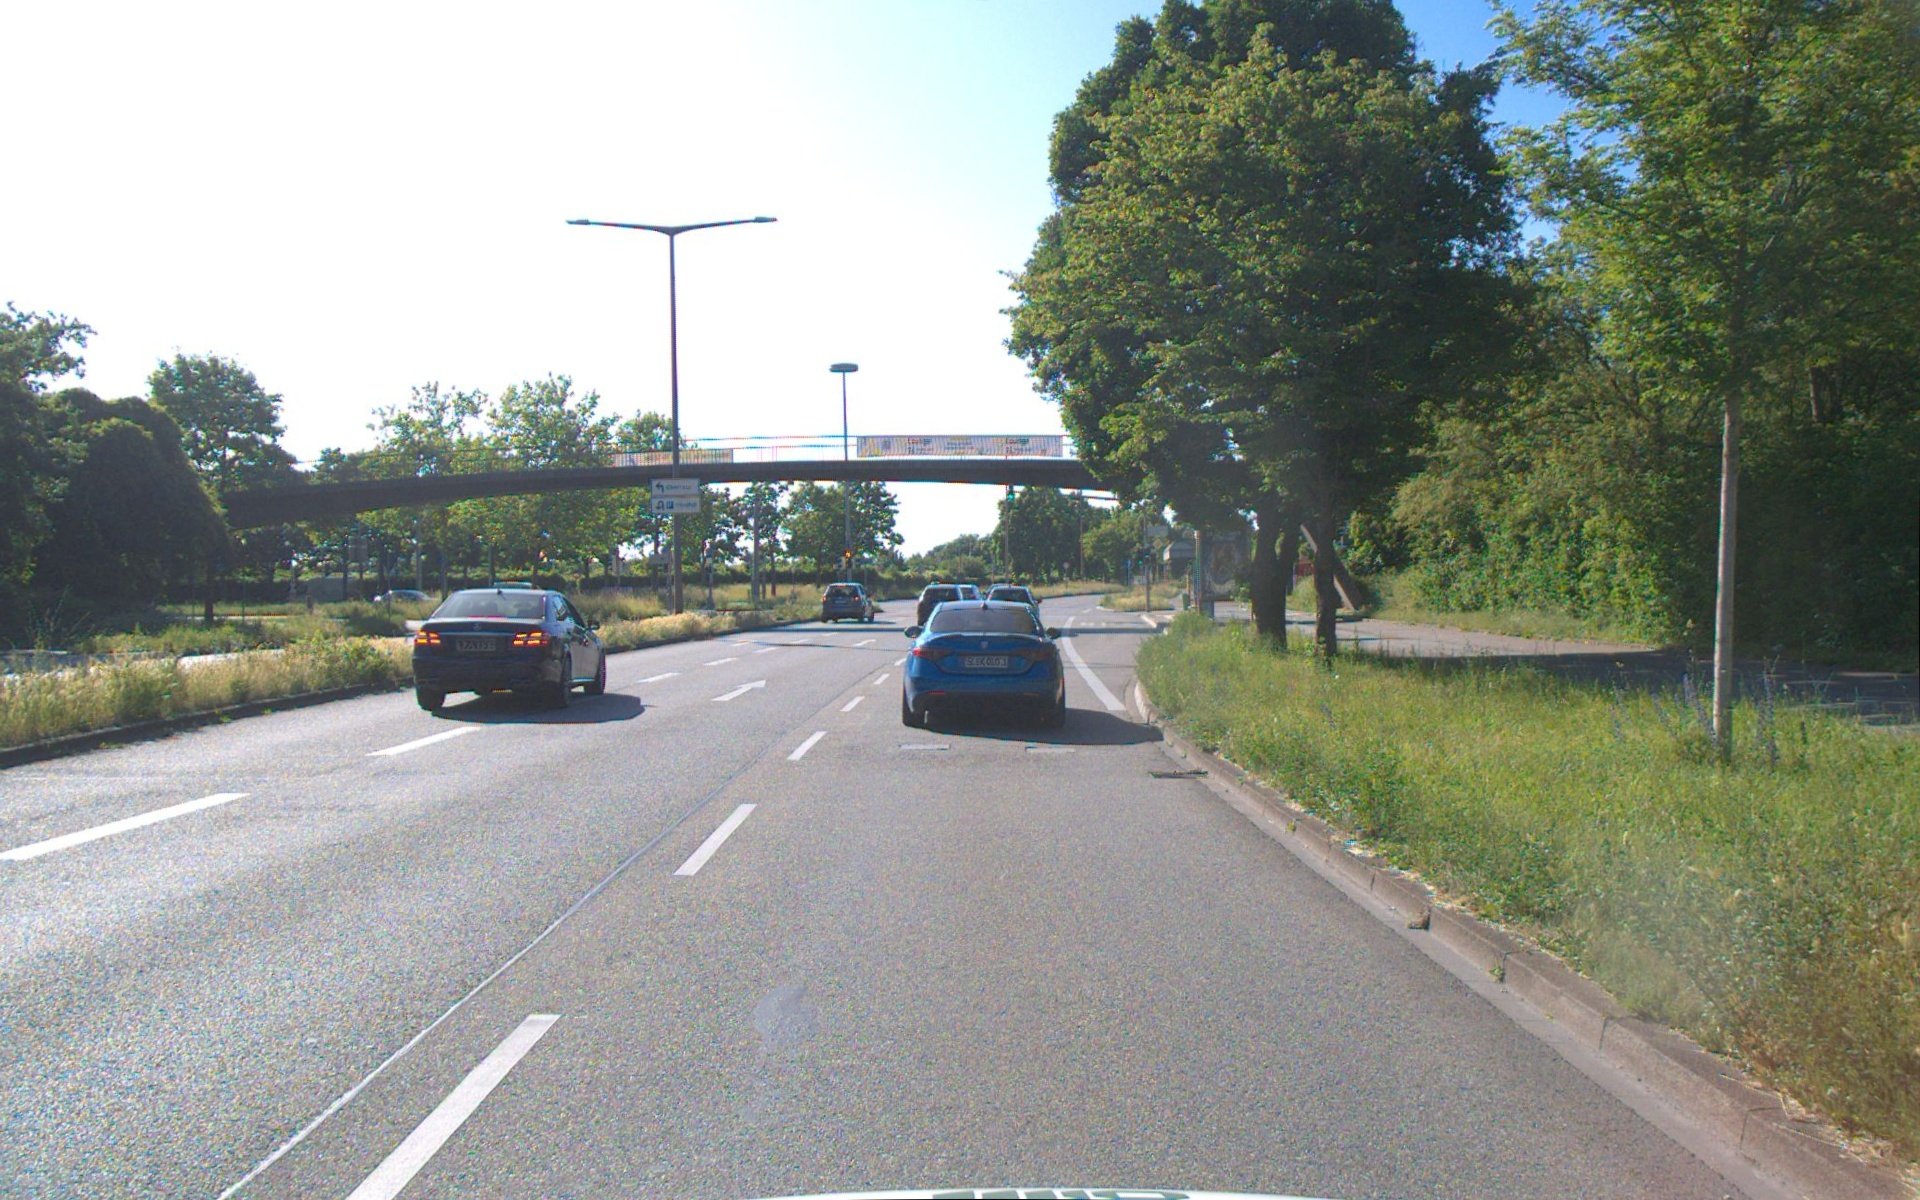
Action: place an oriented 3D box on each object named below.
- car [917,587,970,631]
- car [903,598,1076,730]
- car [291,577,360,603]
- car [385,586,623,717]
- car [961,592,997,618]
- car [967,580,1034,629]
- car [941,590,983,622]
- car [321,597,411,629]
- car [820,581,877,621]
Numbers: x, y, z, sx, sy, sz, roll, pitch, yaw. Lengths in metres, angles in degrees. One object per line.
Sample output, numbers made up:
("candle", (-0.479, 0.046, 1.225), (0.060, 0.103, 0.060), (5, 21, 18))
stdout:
("car", (-0.658, 0.348, 63.000), (1.674, 1.626, 4.219), (0, 0, -5))
("car", (0.251, 0.698, 20.039), (1.845, 1.431, 4.222), (0, 0, -3))
("car", (-50.507, -0.756, 131.669), (4.687, 2.049, 2.000), (0, 0, 0))
("car", (-5.881, 0.605, 21.975), (1.919, 1.509, 4.916), (-1, 0, -2))
("car", (1.071, 0.279, 96.751), (1.845, 1.479, 4.524), (0, 0, -3))
("car", (1.267, 0.141, 53.049), (1.845, 1.479, 4.524), (0, 0, -3))
("car", (0.065, 0.279, 80.026), (1.845, 1.479, 4.524), (0, 0, -3))
("car", (-31.796, 0.671, 88.584), (4.216, 1.679, 2.001), (0, 0, 18))
("car", (-4.546, 0.047, 67.870), (1.759, 1.583, 3.732), (0, 0, 6))
